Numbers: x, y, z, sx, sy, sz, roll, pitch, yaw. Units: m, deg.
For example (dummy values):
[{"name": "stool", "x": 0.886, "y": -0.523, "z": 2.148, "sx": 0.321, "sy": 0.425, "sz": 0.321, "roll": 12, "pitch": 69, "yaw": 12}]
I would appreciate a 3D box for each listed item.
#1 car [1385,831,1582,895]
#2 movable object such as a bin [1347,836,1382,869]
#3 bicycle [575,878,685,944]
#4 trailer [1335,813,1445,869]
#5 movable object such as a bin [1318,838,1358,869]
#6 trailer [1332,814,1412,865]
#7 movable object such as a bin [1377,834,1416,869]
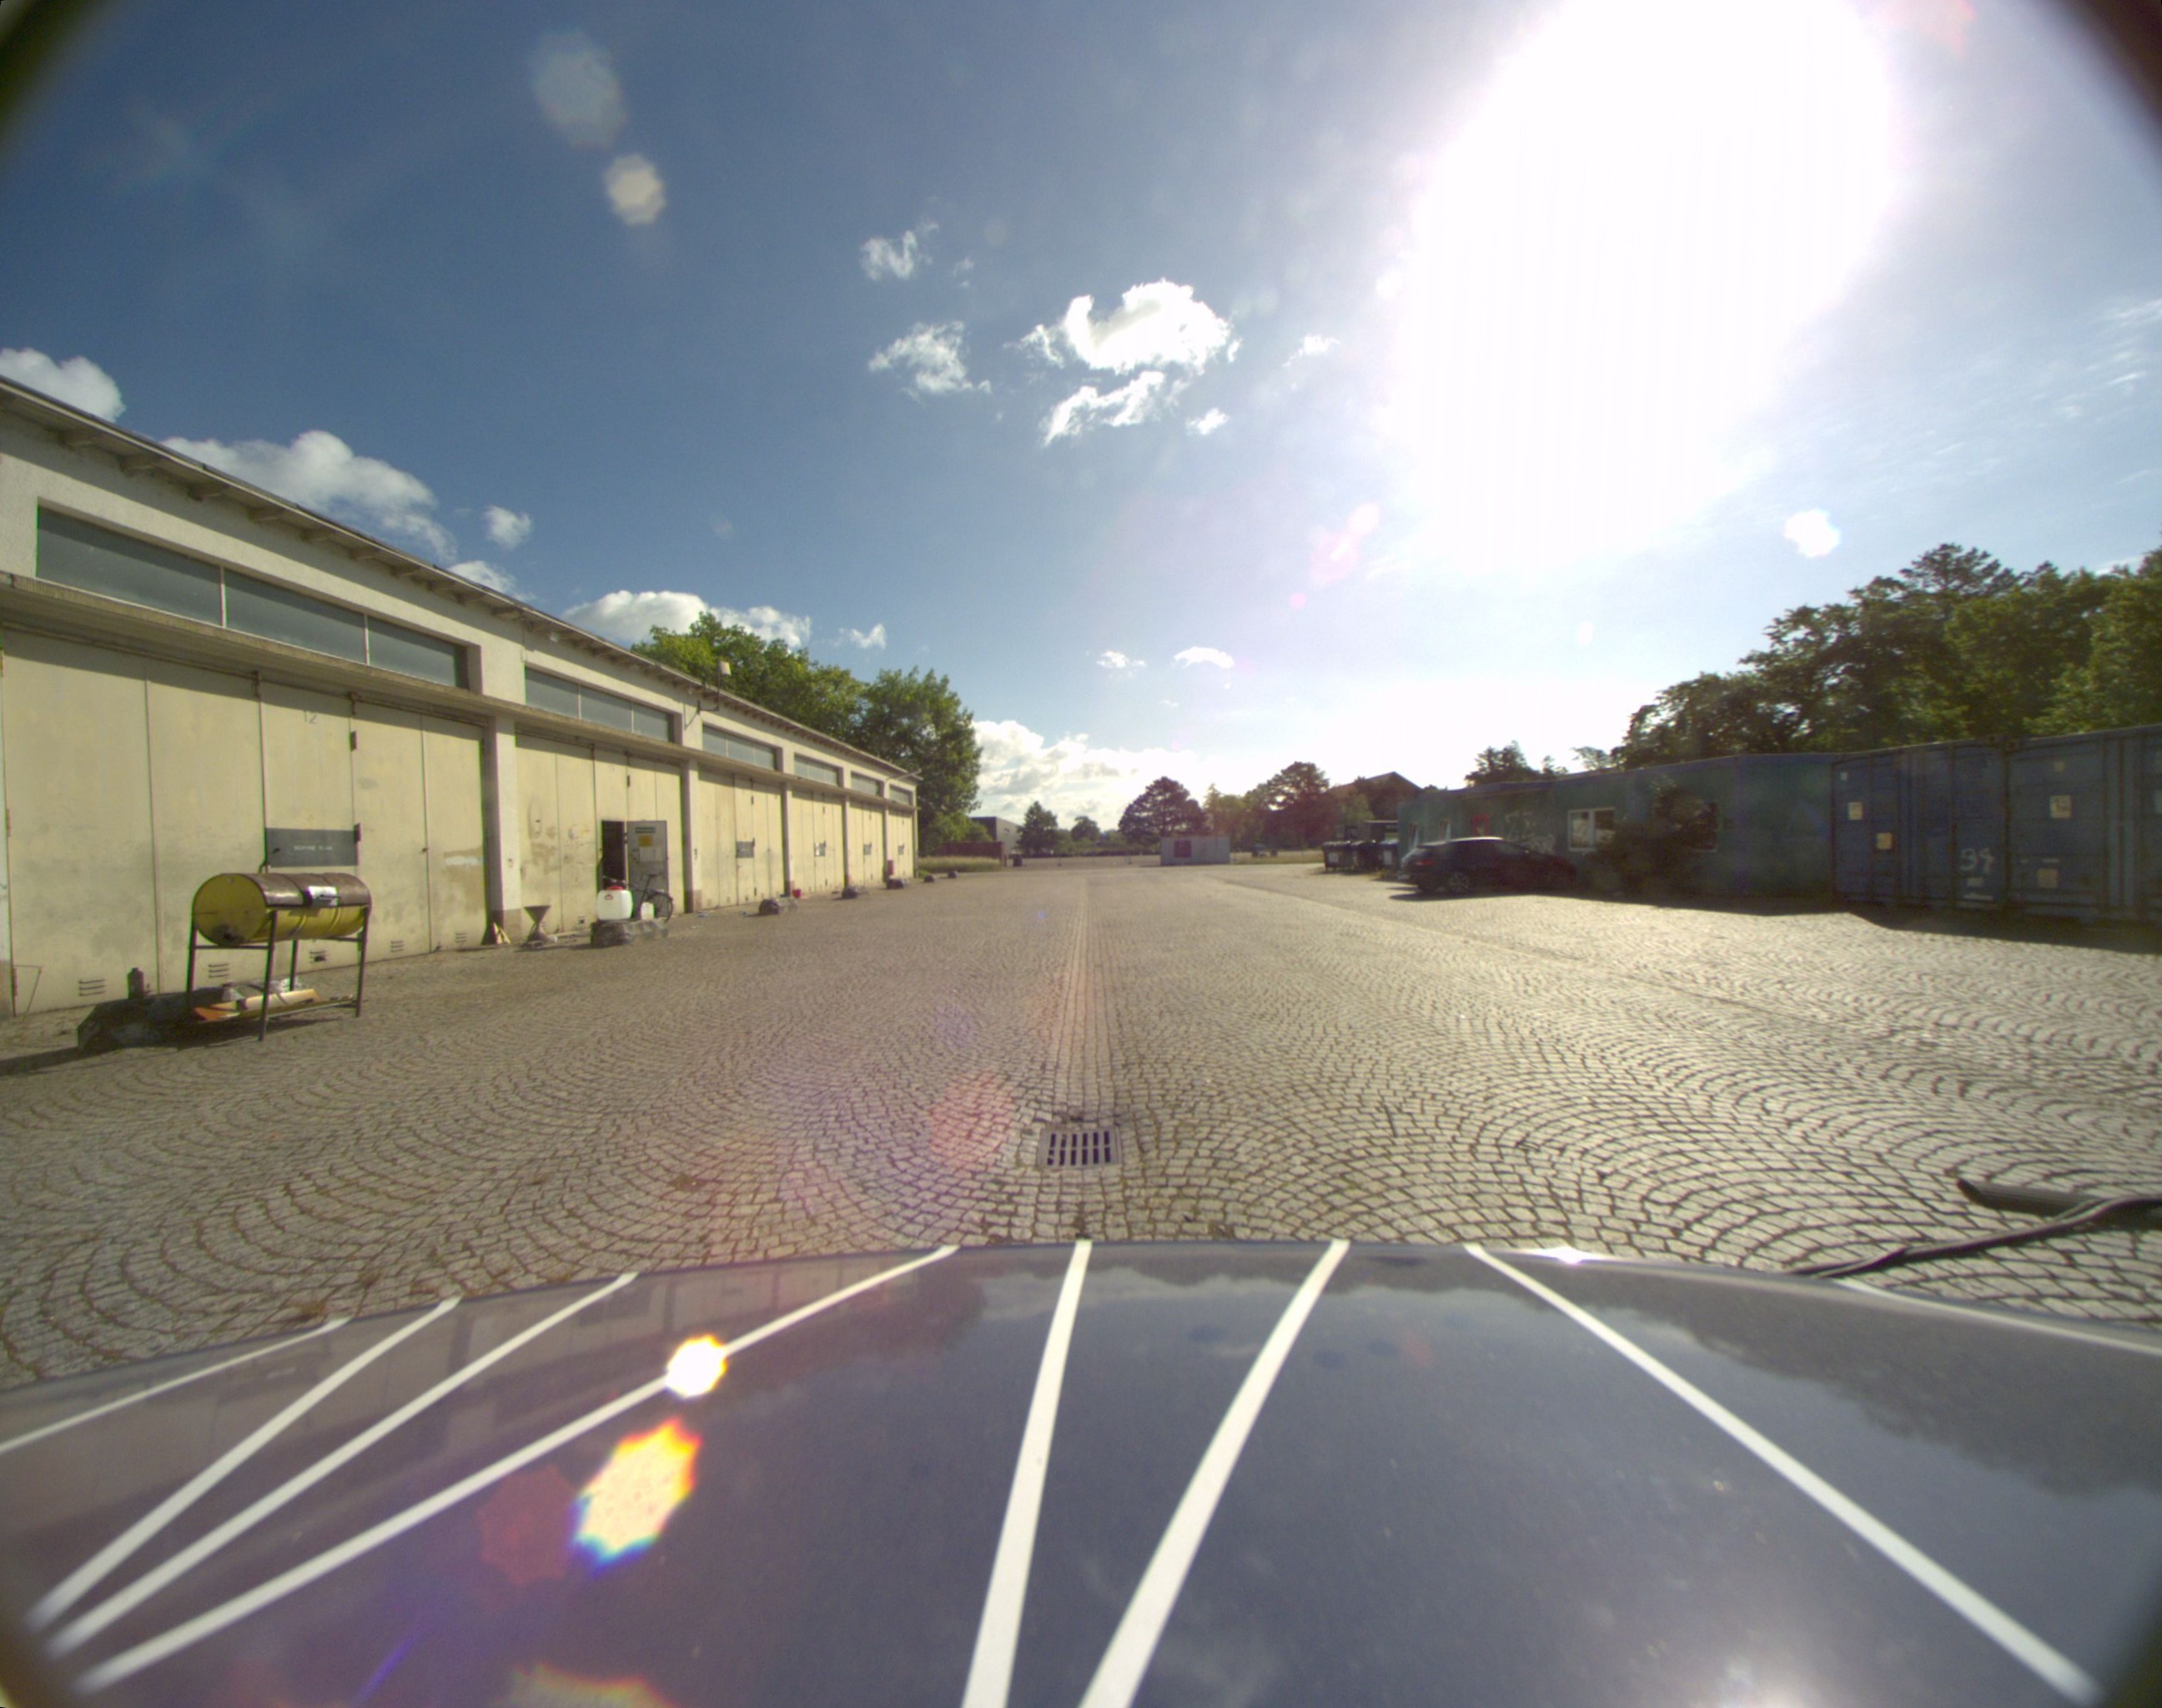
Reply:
[{"name": "car", "x": 10.681, "y": 0.198, "z": 20.388, "sx": 4.263, "sy": 1.441, "sz": 1.930, "roll": -3, "pitch": 1, "yaw": -1}, {"name": "movable object such as a bin", "x": 12.921, "y": -0.087, "z": 34.645, "sx": 1.020, "sy": 1.450, "sz": 1.440, "roll": -3, "pitch": 2, "yaw": 0}, {"name": "bicycle", "x": -8.555, "y": 1.052, "z": 14.517, "sx": 0.665, "sy": 1.062, "sz": 1.825, "roll": -2, "pitch": 1, "yaw": 13}, {"name": "trailer", "x": 15.344, "y": -0.656, "z": 37.883, "sx": 4.649, "sy": 2.553, "sz": 1.950, "roll": -3, "pitch": 2, "yaw": -4}, {"name": "movable object such as a bin", "x": 12.442, "y": -0.017, "z": 36.761, "sx": 1.434, "sy": 1.450, "sz": 1.158, "roll": -1, "pitch": 2, "yaw": 43}, {"name": "trailer", "x": 15.382, "y": -0.771, "z": 40.330, "sx": 3.393, "sy": 2.456, "sz": 2.044, "roll": -3, "pitch": 2, "yaw": 1}, {"name": "movable object such as a bin", "x": 13.661, "y": -0.105, "z": 32.962, "sx": 0.885, "sy": 1.450, "sz": 1.439, "roll": -3, "pitch": 2, "yaw": -10}]
